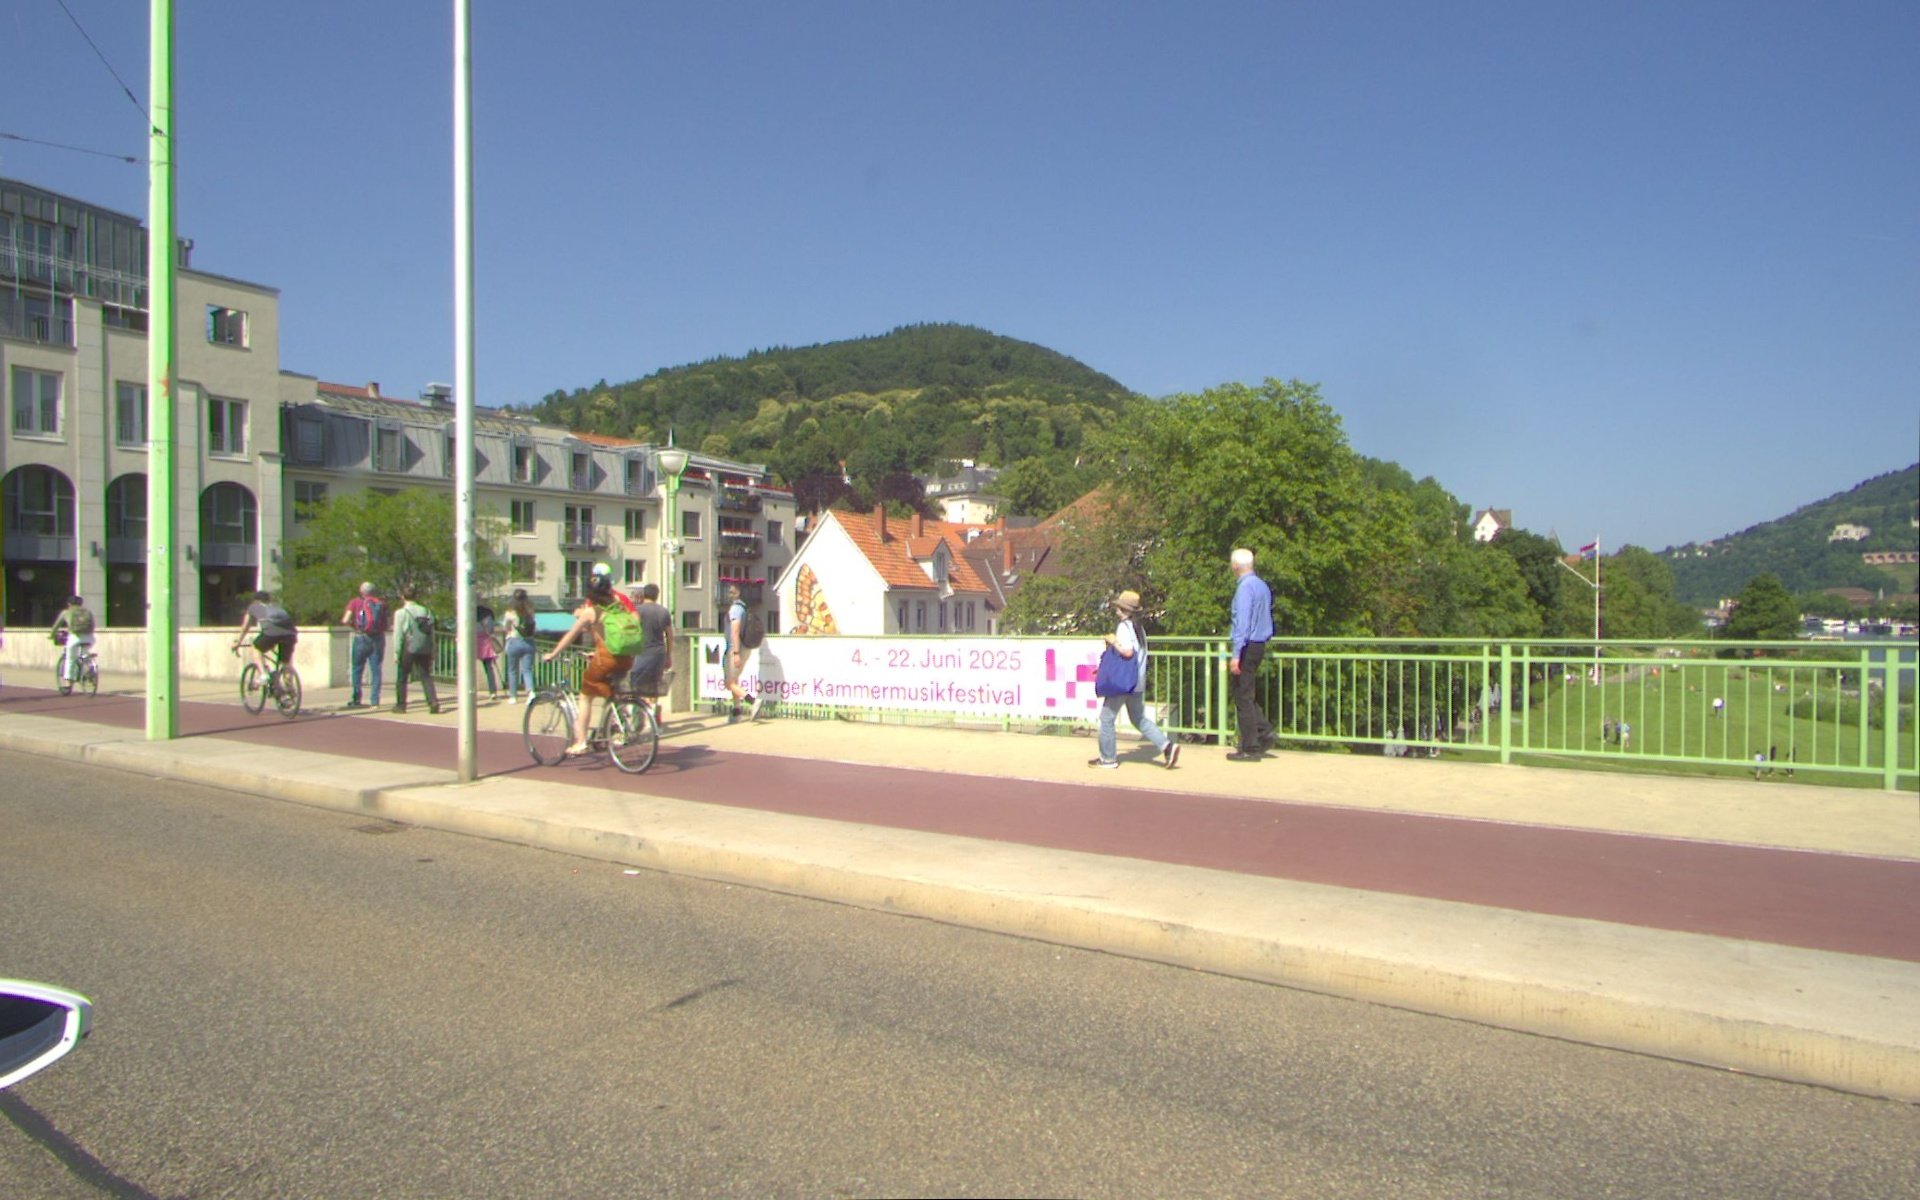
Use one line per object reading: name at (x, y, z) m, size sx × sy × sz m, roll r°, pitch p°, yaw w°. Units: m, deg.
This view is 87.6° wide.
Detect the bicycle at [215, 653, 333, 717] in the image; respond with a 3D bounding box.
bicycle at (-9.375, 1.140, 13.667) m, size 1.804 × 0.776 × 0.593 m, roll -1°, pitch 1°, yaw 30°

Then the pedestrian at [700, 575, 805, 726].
pedestrian at (-2.508, 0.588, 12.111) m, size 1.001 × 1.741 × 0.738 m, roll 0°, pitch 1°, yaw 32°

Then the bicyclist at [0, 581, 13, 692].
bicyclist at (-16.434, 0.615, 16.804) m, size 0.691 × 1.844 × 0.586 m, roll 0°, pitch 1°, yaw 30°

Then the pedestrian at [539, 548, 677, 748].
pedestrian at (-3.662, 0.476, 10.428) m, size 1.111 × 1.950 × 0.809 m, roll 0°, pitch 1°, yaw 32°

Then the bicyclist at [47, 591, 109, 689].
bicyclist at (-15.401, 0.677, 17.492) m, size 0.691 × 1.672 × 0.586 m, roll 0°, pitch 1°, yaw 30°

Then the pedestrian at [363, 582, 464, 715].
pedestrian at (-7.490, 0.640, 13.740) m, size 1.057 × 1.741 × 0.753 m, roll 0°, pitch 2°, yaw 32°

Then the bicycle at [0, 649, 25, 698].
bicycle at (-16.513, 1.228, 16.859) m, size 1.838 × 0.776 × 0.593 m, roll -1°, pitch 1°, yaw 30°

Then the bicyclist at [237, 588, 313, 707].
bicyclist at (-9.311, 0.628, 13.622) m, size 0.691 × 1.579 × 0.586 m, roll 0°, pitch 1°, yaw 30°

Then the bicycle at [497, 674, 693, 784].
bicycle at (-3.187, 1.077, 8.683) m, size 1.840 × 0.776 × 0.592 m, roll -1°, pitch 1°, yaw 33°

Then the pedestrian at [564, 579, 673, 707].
pedestrian at (-5.038, 0.607, 14.842) m, size 0.963 × 1.801 × 1.204 m, roll -1°, pitch 1°, yaw 20°

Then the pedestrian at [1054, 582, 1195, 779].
pedestrian at (1.403, 0.634, 8.479) m, size 0.919 × 1.550 × 0.827 m, roll 0°, pitch 2°, yaw 32°

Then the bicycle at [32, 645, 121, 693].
bicycle at (-15.494, 1.194, 17.556) m, size 1.838 × 0.776 × 0.593 m, roll -1°, pitch 1°, yaw 30°

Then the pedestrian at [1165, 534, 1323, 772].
pedestrian at (2.502, 0.437, 8.788) m, size 1.121 × 1.923 × 0.924 m, roll 0°, pitch 1°, yaw 32°

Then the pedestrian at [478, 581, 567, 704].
pedestrian at (-6.550, 0.608, 14.994) m, size 1.001 × 1.770 × 0.738 m, roll 0°, pitch 2°, yaw 31°

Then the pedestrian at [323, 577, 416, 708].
pedestrian at (-8.559, 0.592, 14.529) m, size 1.001 × 1.826 × 0.737 m, roll 0°, pitch 2°, yaw 32°

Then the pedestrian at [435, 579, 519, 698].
pedestrian at (-7.580, 0.587, 15.725) m, size 1.001 × 1.801 × 0.737 m, roll 0°, pitch 2°, yaw 32°

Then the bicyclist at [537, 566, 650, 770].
bicyclist at (-3.160, 0.562, 8.646) m, size 0.692 × 1.672 × 0.603 m, roll 0°, pitch 1°, yaw 33°

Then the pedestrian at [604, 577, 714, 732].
pedestrian at (-3.553, 0.610, 11.838) m, size 1.001 × 1.741 × 0.737 m, roll 0°, pitch 2°, yaw 32°
